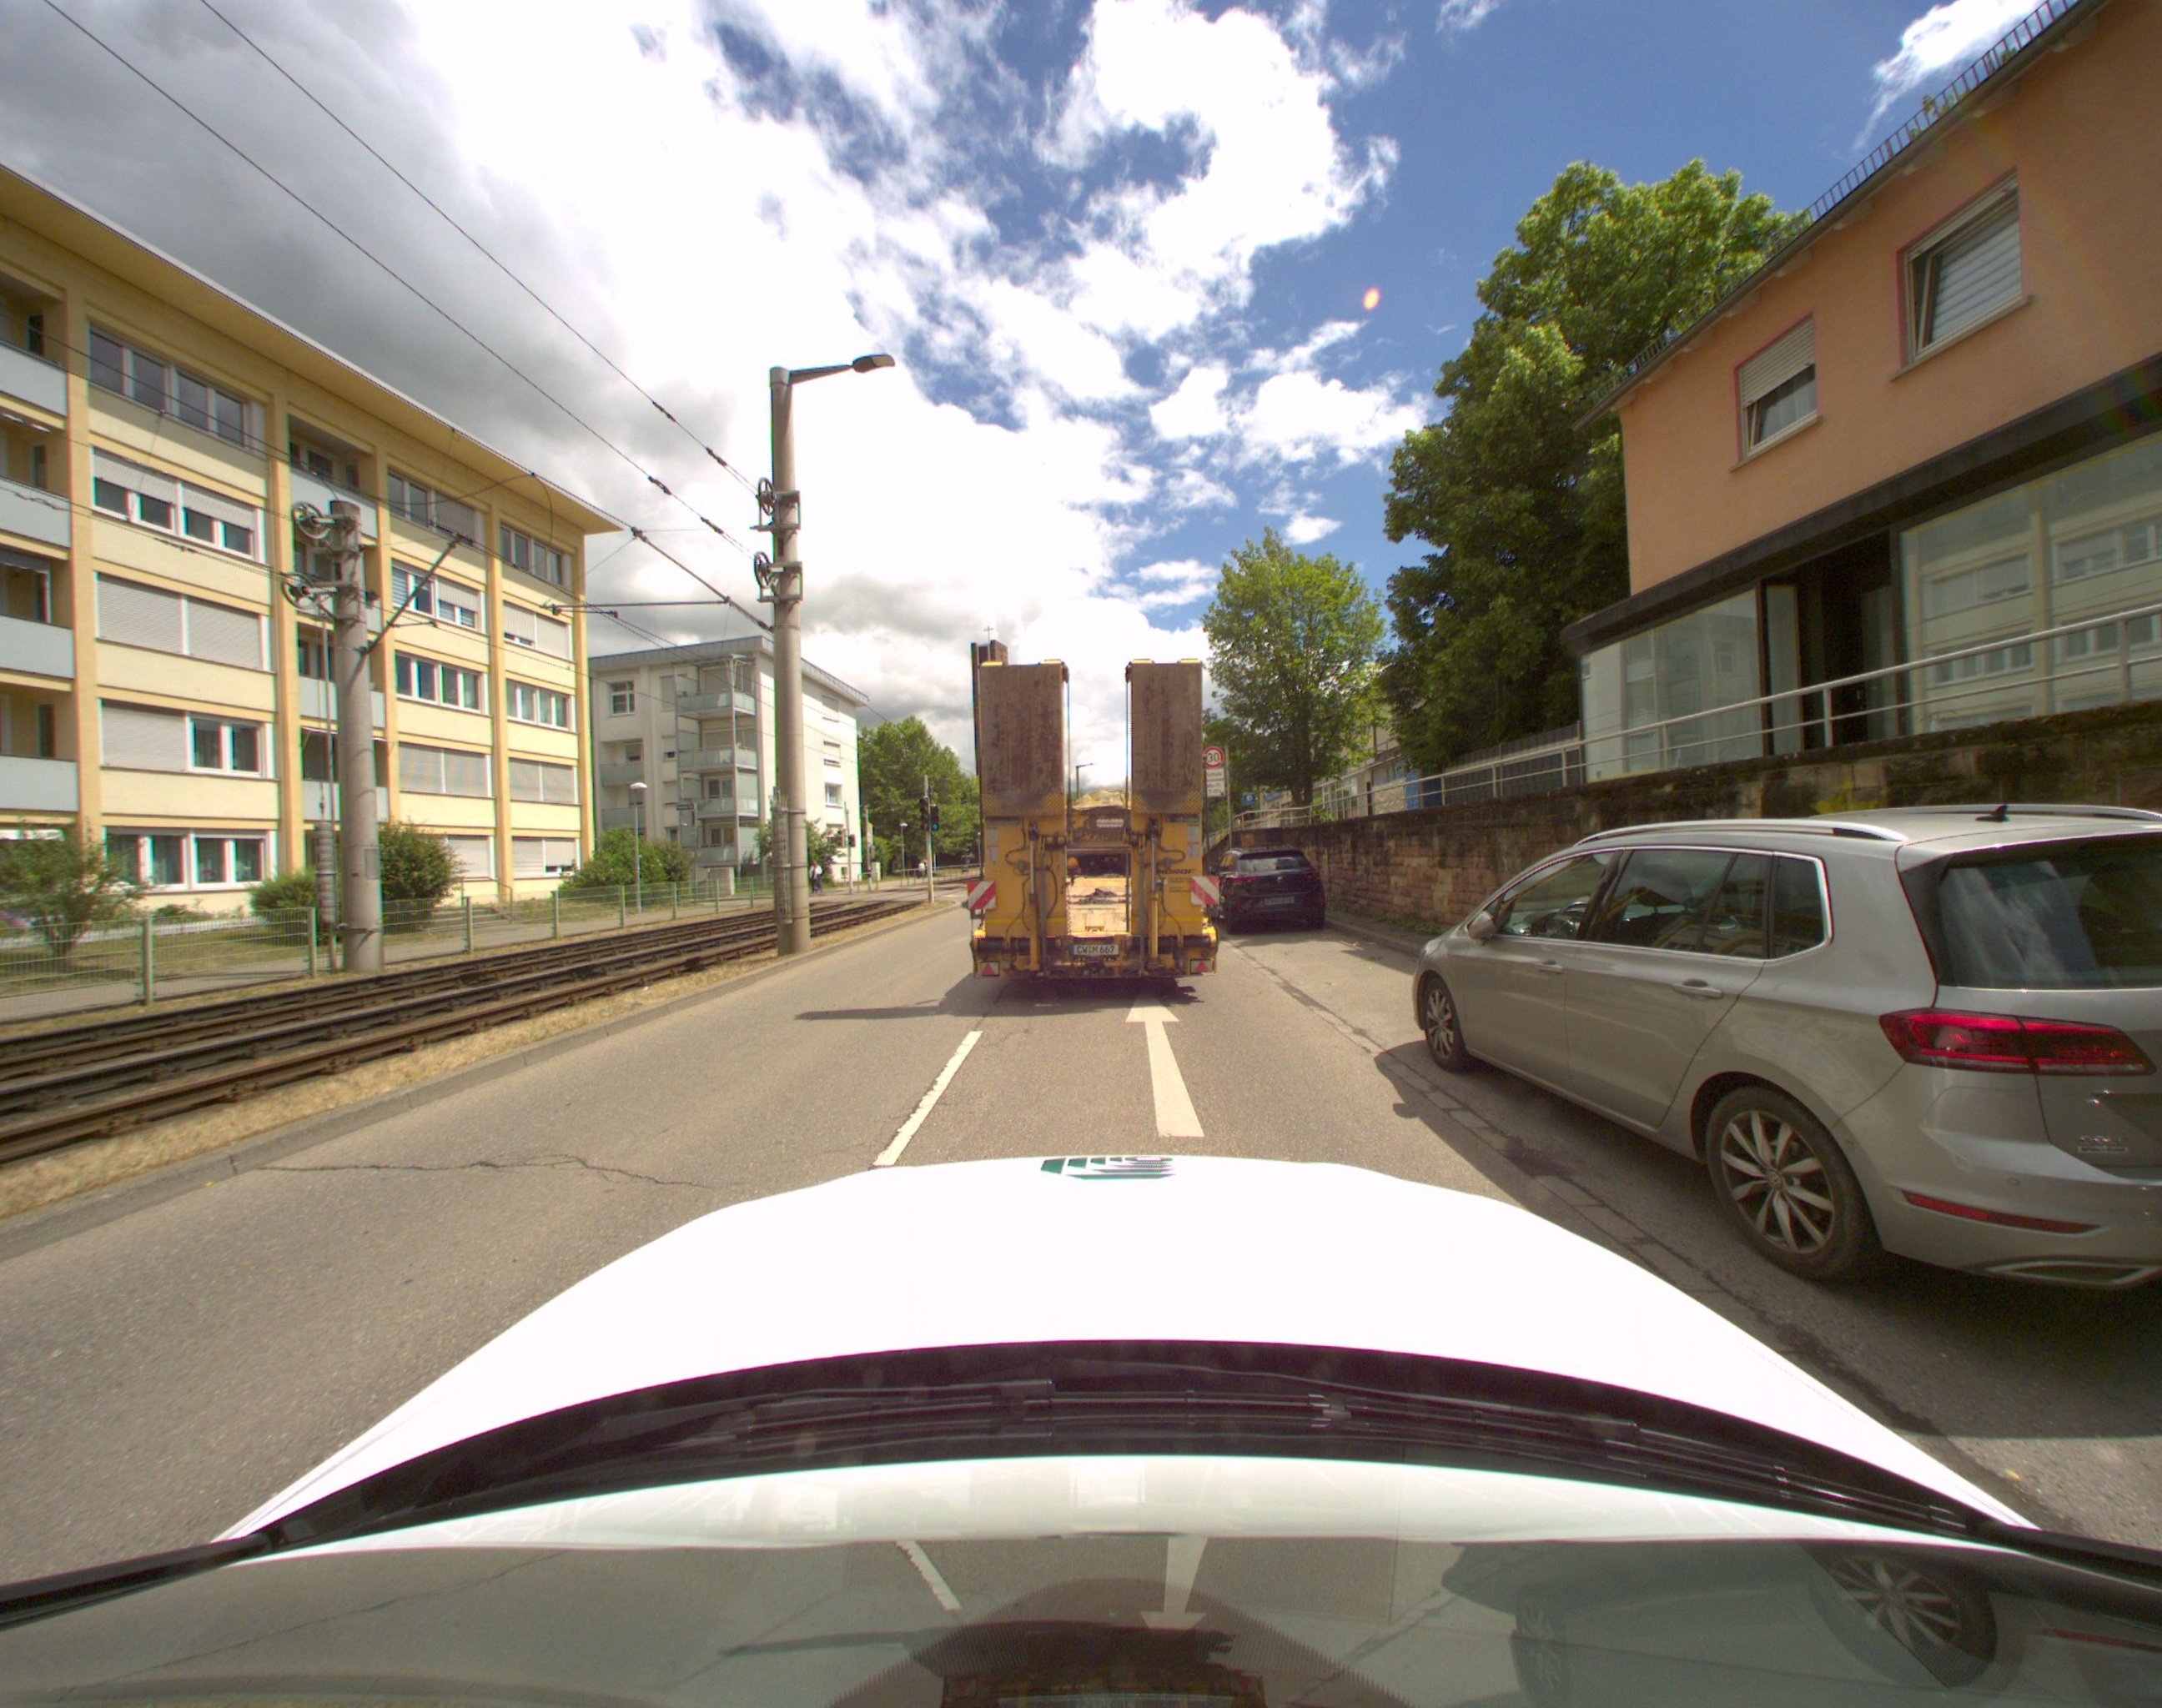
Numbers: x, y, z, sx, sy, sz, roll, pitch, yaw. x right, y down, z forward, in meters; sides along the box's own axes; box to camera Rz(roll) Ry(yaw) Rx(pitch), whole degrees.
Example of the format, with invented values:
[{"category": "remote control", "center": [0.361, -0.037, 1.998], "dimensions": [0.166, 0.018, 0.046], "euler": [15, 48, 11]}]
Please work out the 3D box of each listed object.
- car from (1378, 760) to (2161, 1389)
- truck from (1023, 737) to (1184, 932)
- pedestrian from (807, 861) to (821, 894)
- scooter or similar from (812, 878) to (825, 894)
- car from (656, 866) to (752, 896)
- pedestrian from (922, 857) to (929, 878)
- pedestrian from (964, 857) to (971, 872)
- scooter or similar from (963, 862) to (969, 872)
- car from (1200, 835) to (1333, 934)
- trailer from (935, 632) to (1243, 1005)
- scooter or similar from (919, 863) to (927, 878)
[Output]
[{"category": "car", "center": [3.226, 0.541, 4.261], "dimensions": [1.783, 1.617, 4.249], "euler": [-3, 0, 1]}, {"category": "truck", "center": [0.534, -0.372, 17.739], "dimensions": [2.931, 3.572, 4.880], "euler": [-2, 0, 2]}, {"category": "pedestrian", "center": [-13.103, 1.150, 40.002], "dimensions": [0.435, 1.581, 0.475], "euler": [-2, -1, 7]}, {"category": "scooter or similar", "center": [-12.762, 1.558, 39.630], "dimensions": [0.435, 0.747, 0.475], "euler": [-2, 0, 7]}, {"category": "car", "center": [-19.193, 1.376, 41.539], "dimensions": [3.963, 1.345, 1.906], "euler": [-2, 0, 9]}, {"category": "pedestrian", "center": [-11.792, 1.019, 61.780], "dimensions": [0.346, 1.537, 0.558], "euler": [-2, 0, 5]}, {"category": "pedestrian", "center": [-10.977, 1.012, 78.653], "dimensions": [0.562, 1.513, 0.646], "euler": [0, 0, 1]}, {"category": "scooter or similar", "center": [-11.017, 1.277, 77.997], "dimensions": [0.504, 0.971, 0.646], "euler": [0, 0, 1]}, {"category": "car", "center": [3.532, 0.531, 16.263], "dimensions": [1.843, 1.639, 4.003], "euler": [-3, 0, 3]}, {"category": "trailer", "center": [0.283, -0.358, 12.441], "dimensions": [2.933, 3.601, 8.690], "euler": [-2, 0, 3]}, {"category": "scooter or similar", "center": [-11.841, 1.231, 61.136], "dimensions": [0.336, 1.057, 0.689], "euler": [-2, 1, 6]}]
